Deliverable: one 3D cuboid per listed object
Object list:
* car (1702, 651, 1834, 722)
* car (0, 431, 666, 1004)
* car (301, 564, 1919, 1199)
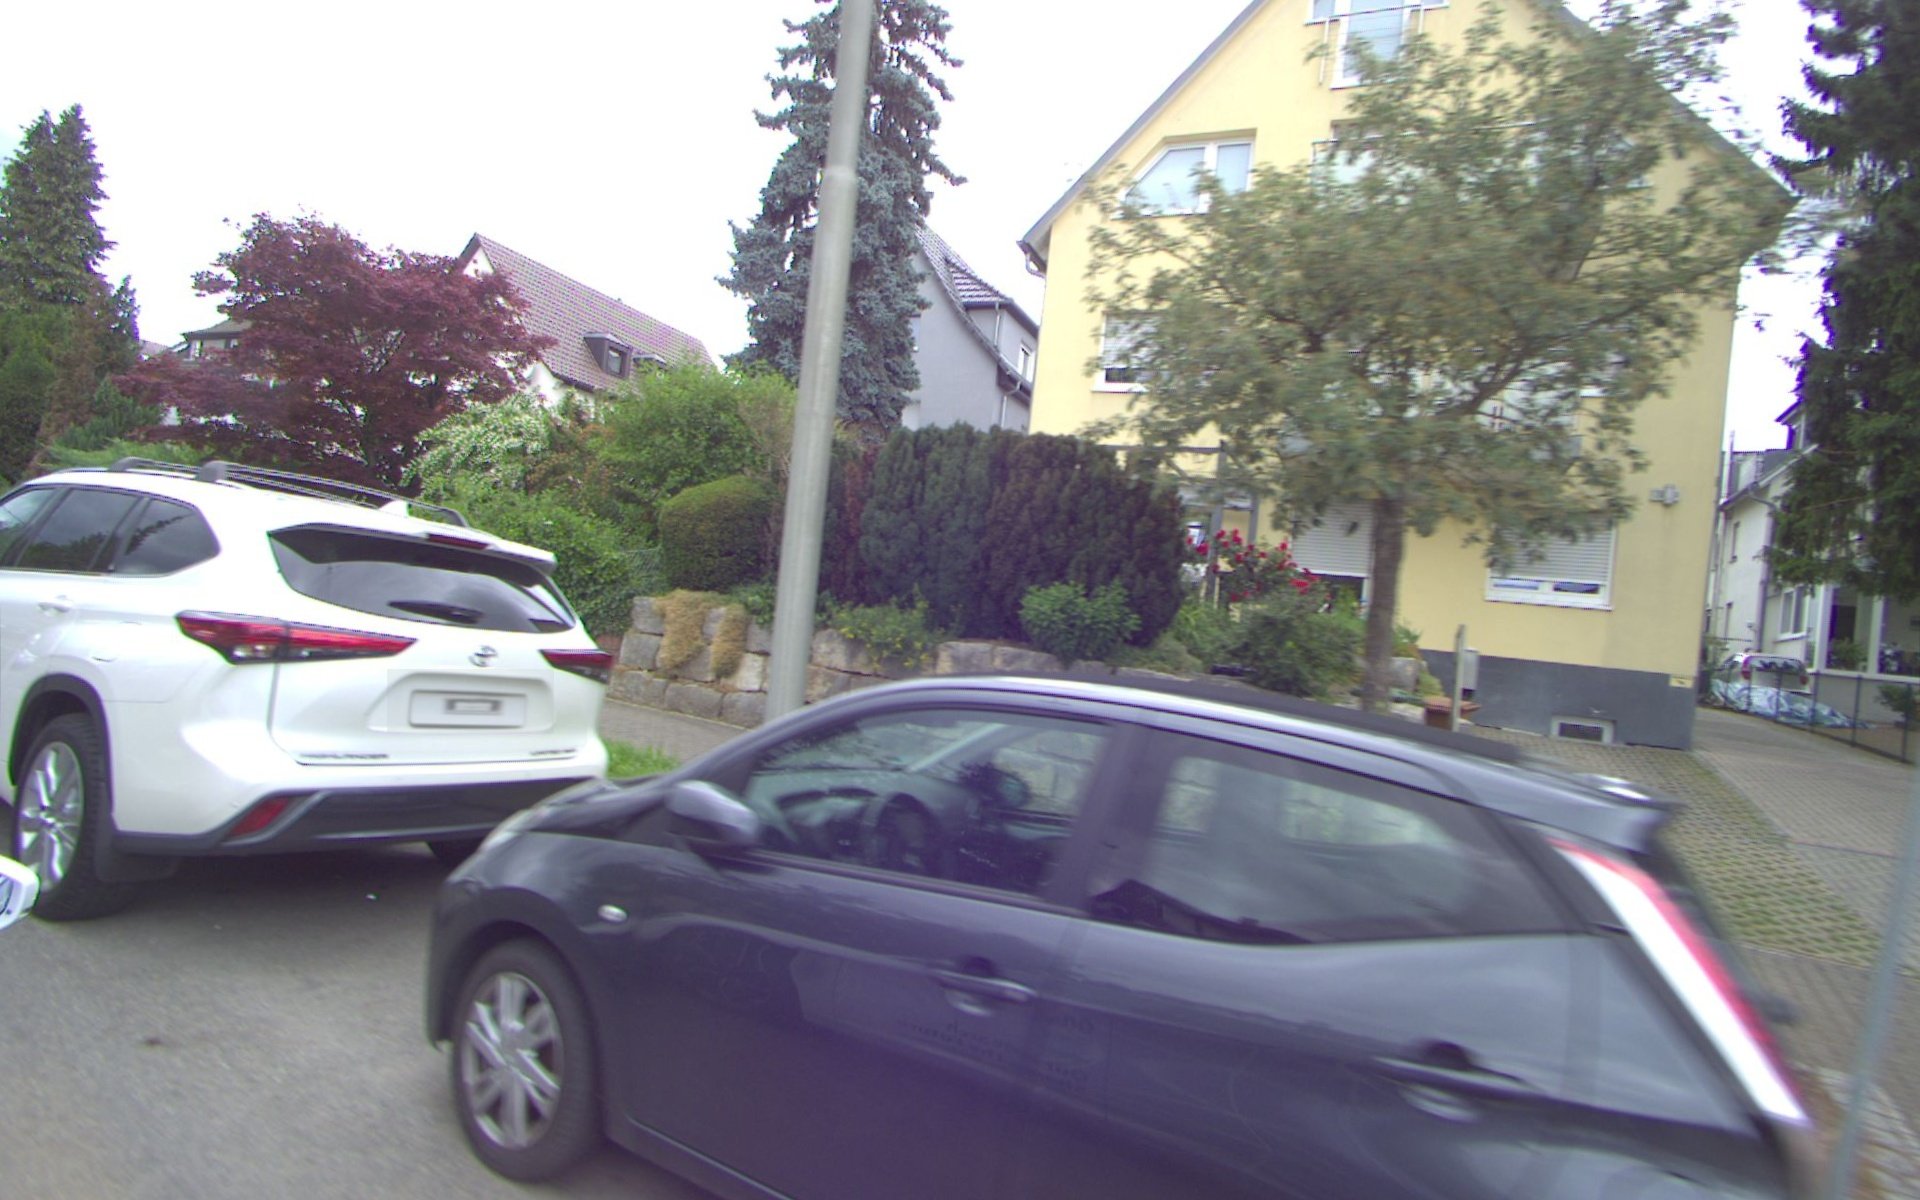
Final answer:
[{"bbox_3d":[20.904,2.210,26.190,1.727,1.485,3.778,7,0,26],"label":"car"},{"bbox_3d":[-3.940,0.259,5.117,4.625,1.798,1.804,6,-3,30],"label":"car"},{"bbox_3d":[0.050,0.868,2.760,3.447,1.459,1.562,6,-2,29],"label":"car"}]
